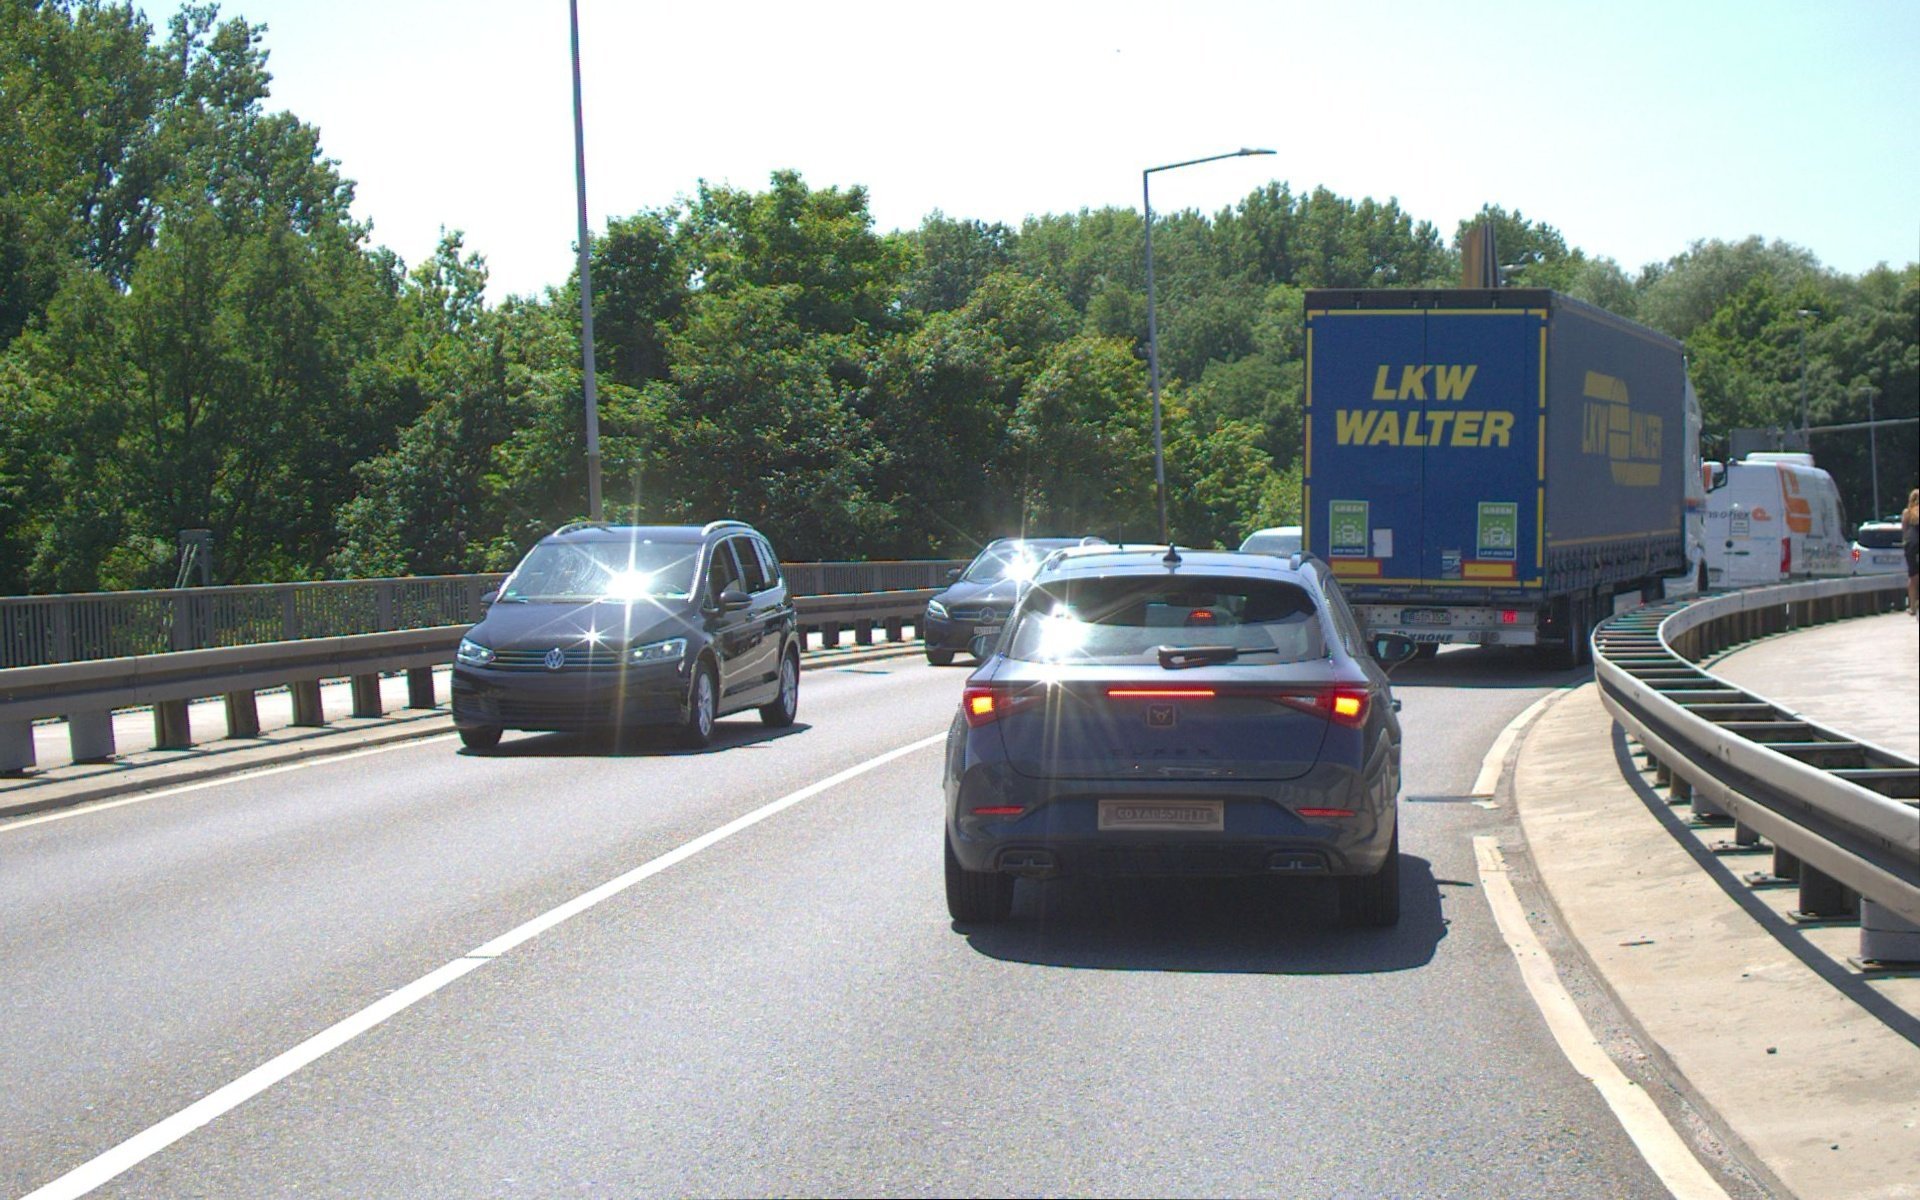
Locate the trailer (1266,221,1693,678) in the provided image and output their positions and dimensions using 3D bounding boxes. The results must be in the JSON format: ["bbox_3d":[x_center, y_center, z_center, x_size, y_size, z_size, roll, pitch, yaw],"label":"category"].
[{"bbox_3d":[6.586,-1.572,41.273,3.136,4.598,12.937,1,1,17],"label":"trailer"}]

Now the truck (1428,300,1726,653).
[{"bbox_3d":[8.840,-1.626,48.550,3.173,4.569,7.390,0,0,18],"label":"truck"}]

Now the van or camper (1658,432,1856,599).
[{"bbox_3d":[13.723,-1.448,58.893,2.206,2.702,5.918,0,1,24],"label":"van or camper"}]

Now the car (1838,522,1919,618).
[{"bbox_3d":[18.782,-0.577,67.985,1.891,1.843,3.994,0,0,28],"label":"car"}]

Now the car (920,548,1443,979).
[{"bbox_3d":[0.853,0.548,14.053,1.845,1.493,3.758,0,1,2],"label":"car"}]

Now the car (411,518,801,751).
[{"bbox_3d":[-2.550,0.226,25.771,1.907,1.584,3.998,-1,0,9],"label":"car"}]

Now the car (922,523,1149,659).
[{"bbox_3d":[0.933,-0.112,40.419,1.703,1.505,3.578,-1,0,18],"label":"car"}]

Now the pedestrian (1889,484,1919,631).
[{"bbox_3d":[12.925,-0.567,46.245,0.737,1.961,0.733,0,0,21],"label":"pedestrian"}]

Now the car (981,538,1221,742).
[{"bbox_3d":[1.148,0.271,26.653,1.593,1.456,3.544,1,1,6],"label":"car"}]

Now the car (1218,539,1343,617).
[{"bbox_3d":[4.979,-0.339,53.180,1.252,1.172,2.918,0,0,20],"label":"car"}]
